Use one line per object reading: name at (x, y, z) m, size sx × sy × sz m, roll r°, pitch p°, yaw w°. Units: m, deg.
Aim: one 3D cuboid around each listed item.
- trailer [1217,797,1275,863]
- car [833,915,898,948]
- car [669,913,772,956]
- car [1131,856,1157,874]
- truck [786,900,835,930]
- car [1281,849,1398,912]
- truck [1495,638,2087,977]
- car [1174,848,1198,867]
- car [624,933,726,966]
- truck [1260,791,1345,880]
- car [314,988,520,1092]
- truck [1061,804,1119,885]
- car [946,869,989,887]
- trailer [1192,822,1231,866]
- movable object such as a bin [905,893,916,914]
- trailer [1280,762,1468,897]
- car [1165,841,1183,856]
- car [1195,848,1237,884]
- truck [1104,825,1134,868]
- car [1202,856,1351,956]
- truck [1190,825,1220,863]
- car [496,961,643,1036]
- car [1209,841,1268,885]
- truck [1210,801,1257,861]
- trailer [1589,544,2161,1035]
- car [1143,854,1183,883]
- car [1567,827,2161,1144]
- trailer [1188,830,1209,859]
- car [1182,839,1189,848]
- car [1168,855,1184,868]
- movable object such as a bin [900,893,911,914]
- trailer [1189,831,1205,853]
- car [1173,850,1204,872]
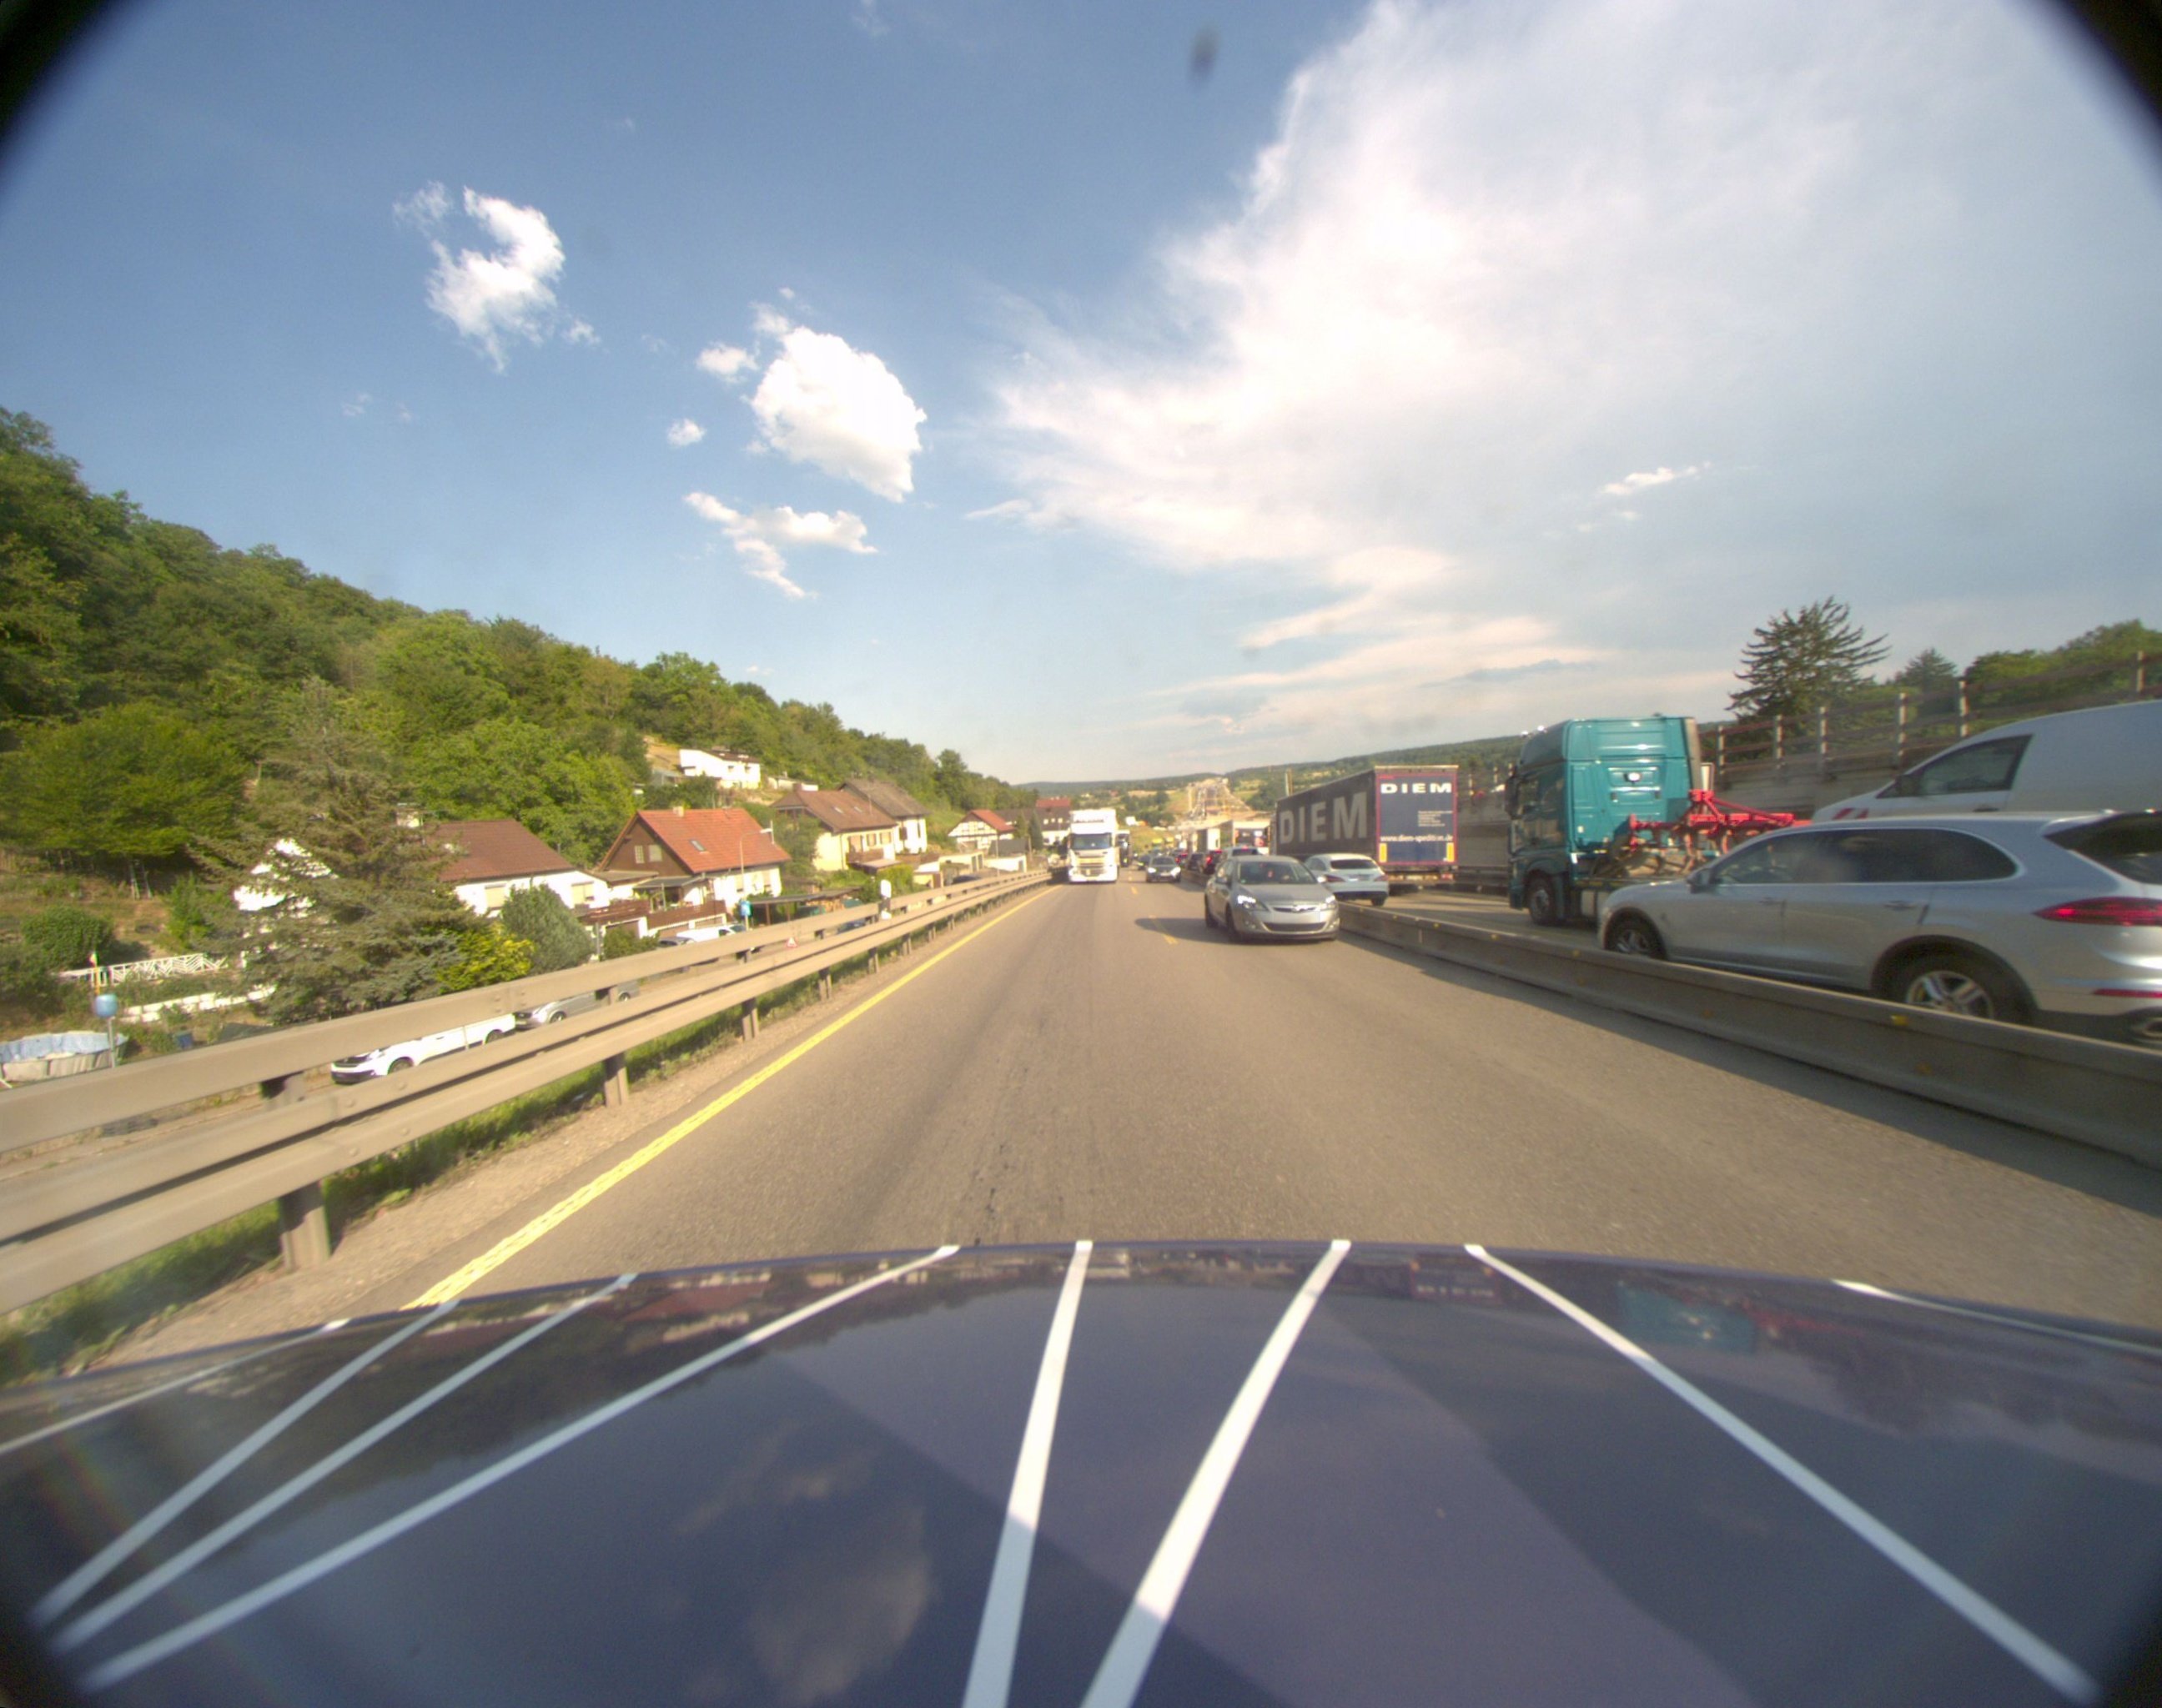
trailer at (11.835, -1.676, 55.160) m, size 2.918 × 4.440 × 7.153 m, roll -2°, pitch 1°, yaw 3°
car at (-13.922, 4.996, 49.168) m, size 1.769 × 1.589 × 3.623 m, roll -6°, pitch 0°, yaw 33°
car at (-22.276, 4.963, 47.027) m, size 5.476 × 2.251 × 2.001 m, roll -2°, pitch 2°, yaw 10°
car at (5.868, 0.979, 71.551) m, size 1.999 × 1.565 × 3.999 m, roll -1°, pitch 1°, yaw -1°
truck at (-20.457, 4.570, 57.355) m, size 2.002 × 1.729 × 3.990 m, roll -11°, pitch 5°, yaw -40°
car at (7.110, 0.651, 21.454) m, size 1.807 × 1.513 × 4.817 m, roll 0°, pitch 1°, yaw 2°
truck at (9.858, -0.549, 12.053) m, size 2.755 × 3.783 × 7.111 m, roll 0°, pitch 1°, yaw 1°
car at (10.320, 0.289, 74.927) m, size 1.866 × 1.577 × 4.746 m, roll -4°, pitch 2°, yaw 4°
car at (-23.184, 5.443, 43.429) m, size 5.099 × 1.548 × 1.716 m, roll -2°, pitch 2°, yaw 10°
truck at (10.715, -0.869, 37.261) m, size 2.755 × 4.091 × 5.030 m, roll 0°, pitch 1°, yaw 1°
car at (-22.029, 6.088, 25.579) m, size 1.865 × 1.975 × 5.053 m, roll 0°, pitch 3°, yaw 10°
truck at (0.627, -0.590, 45.551) m, size 2.892 × 4.059 × 13.892 m, roll -1°, pitch 1°, yaw 1°
car at (-13.165, 2.759, 88.339) m, size 4.500 × 1.517 × 2.001 m, roll 5°, pitch 4°, yaw 11°
trailer at (13.619, -1.076, 80.433) m, size 2.782 × 4.179 × 13.835 m, roll -1°, pitch 1°, yaw 4°
movable object such as a bin at (-15.109, 4.384, 67.172) m, size 0.490 × 1.760 × 0.414 m, roll -11°, pitch 1°, yaw 15°
trailer at (10.519, -0.801, 29.271) m, size 2.721 × 4.099 × 12.492 m, roll 0°, pitch 1°, yaw 2°
car at (10.466, -0.664, 86.078) m, size 1.771 × 1.542 × 4.479 m, roll -2°, pitch 2°, yaw 4°
car at (8.042, 0.666, 45.681) m, size 1.837 × 1.952 × 4.899 m, roll -1°, pitch 1°, yaw 2°
truck at (4.426, -0.794, 86.994) m, size 2.787 × 4.504 × 7.193 m, roll -3°, pitch 0°, yaw 6°
car at (3.350, 0.817, 13.803) m, size 1.810 × 1.478 × 4.119 m, roll -1°, pitch 0°, yaw 3°
truck at (14.110, -1.196, 86.852) m, size 2.770 × 4.179 × 6.115 m, roll -1°, pitch 1°, yaw 4°
car at (-20.771, 5.799, 31.192) m, size 1.999 × 1.907 × 4.866 m, roll 0°, pitch 3°, yaw 13°
car at (7.551, 0.375, 36.867) m, size 1.828 × 1.922 × 5.129 m, roll 2°, pitch 1°, yaw 1°
truck at (12.146, -1.793, 60.743) m, size 2.926 × 4.488 × 5.028 m, roll -1°, pitch 1°, yaw 3°
trailer at (9.719, -0.486, 4.601) m, size 2.755 × 3.793 × 16.045 m, roll 0°, pitch 1°, yaw 1°
car at (4.357, 0.750, 40.926) m, size 1.823 × 1.433 × 4.001 m, roll -2°, pitch 0°, yaw 3°
car at (6.561, 0.627, 6.283) m, size 1.964 × 1.635 × 4.847 m, roll -1°, pitch 1°, yaw 0°
trailer at (18.177, -1.556, 118.261) m, size 2.461 × 4.295 × 13.778 m, roll -1°, pitch 1°, yaw 6°
car at (30.057, -3.120, 219.069) m, size 2.000 × 2.601 × 5.616 m, roll 0°, pitch 1°, yaw 7°
car at (12.646, 0.936, 101.416) m, size 1.778 × 1.448 × 4.814 m, roll -2°, pitch 2°, yaw 4°
movable object such as a bin at (-15.322, 4.304, 66.349) m, size 0.536 × 1.760 × 0.409 m, roll -11°, pitch 1°, yaw 15°
trailer at (22.214, -2.257, 146.249) m, size 2.821 × 4.082 × 8.289 m, roll -1°, pitch 1°, yaw 7°
car at (8.417, 0.523, 59.877) m, size 1.881 × 1.596 × 5.368 m, roll 1°, pitch 1°, yaw 2°
